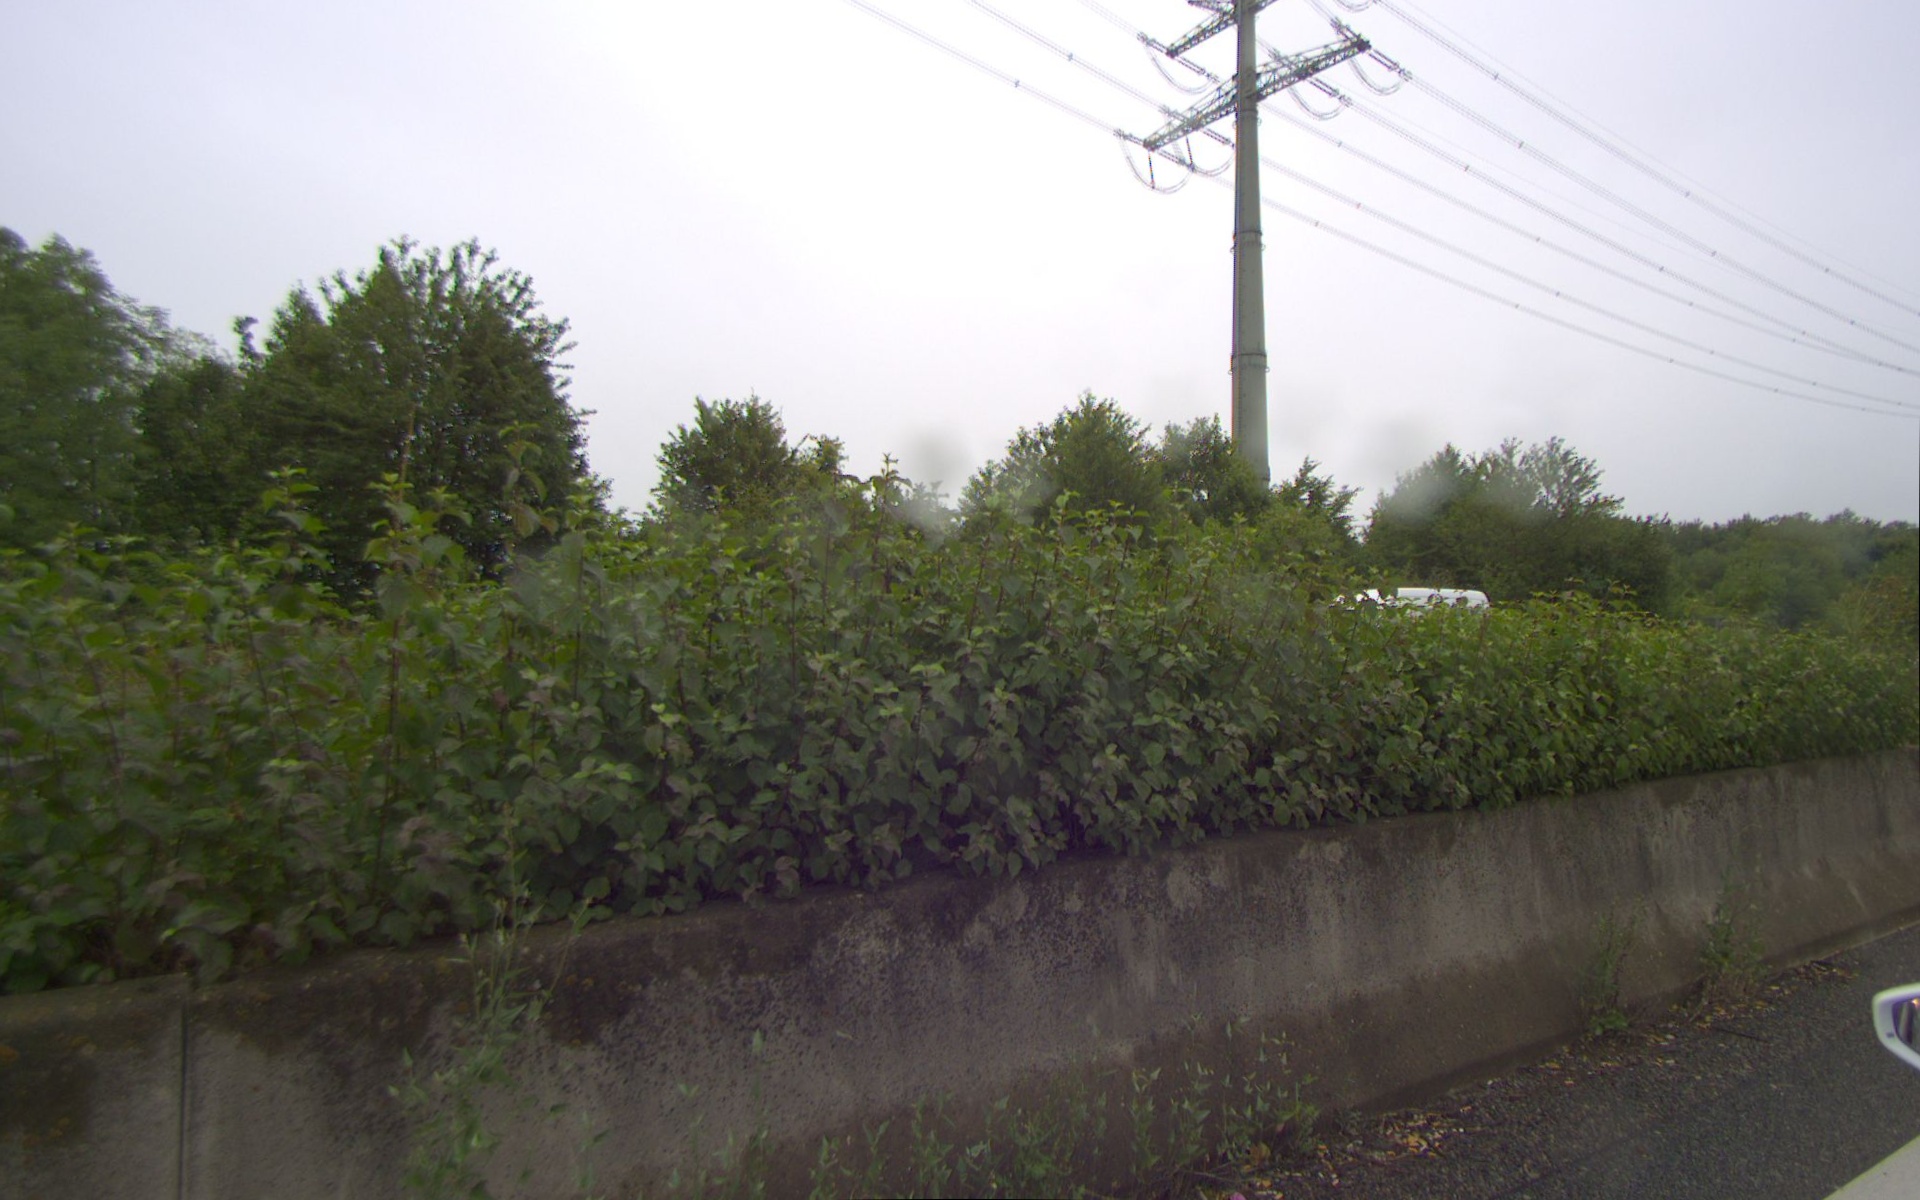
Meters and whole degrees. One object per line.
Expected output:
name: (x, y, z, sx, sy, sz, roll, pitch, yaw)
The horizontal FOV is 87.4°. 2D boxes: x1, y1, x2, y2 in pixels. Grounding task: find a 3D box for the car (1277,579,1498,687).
car: (10.099, 0.756, 23.632, 5.142, 2.295, 2.170, 1, -1, -30)
